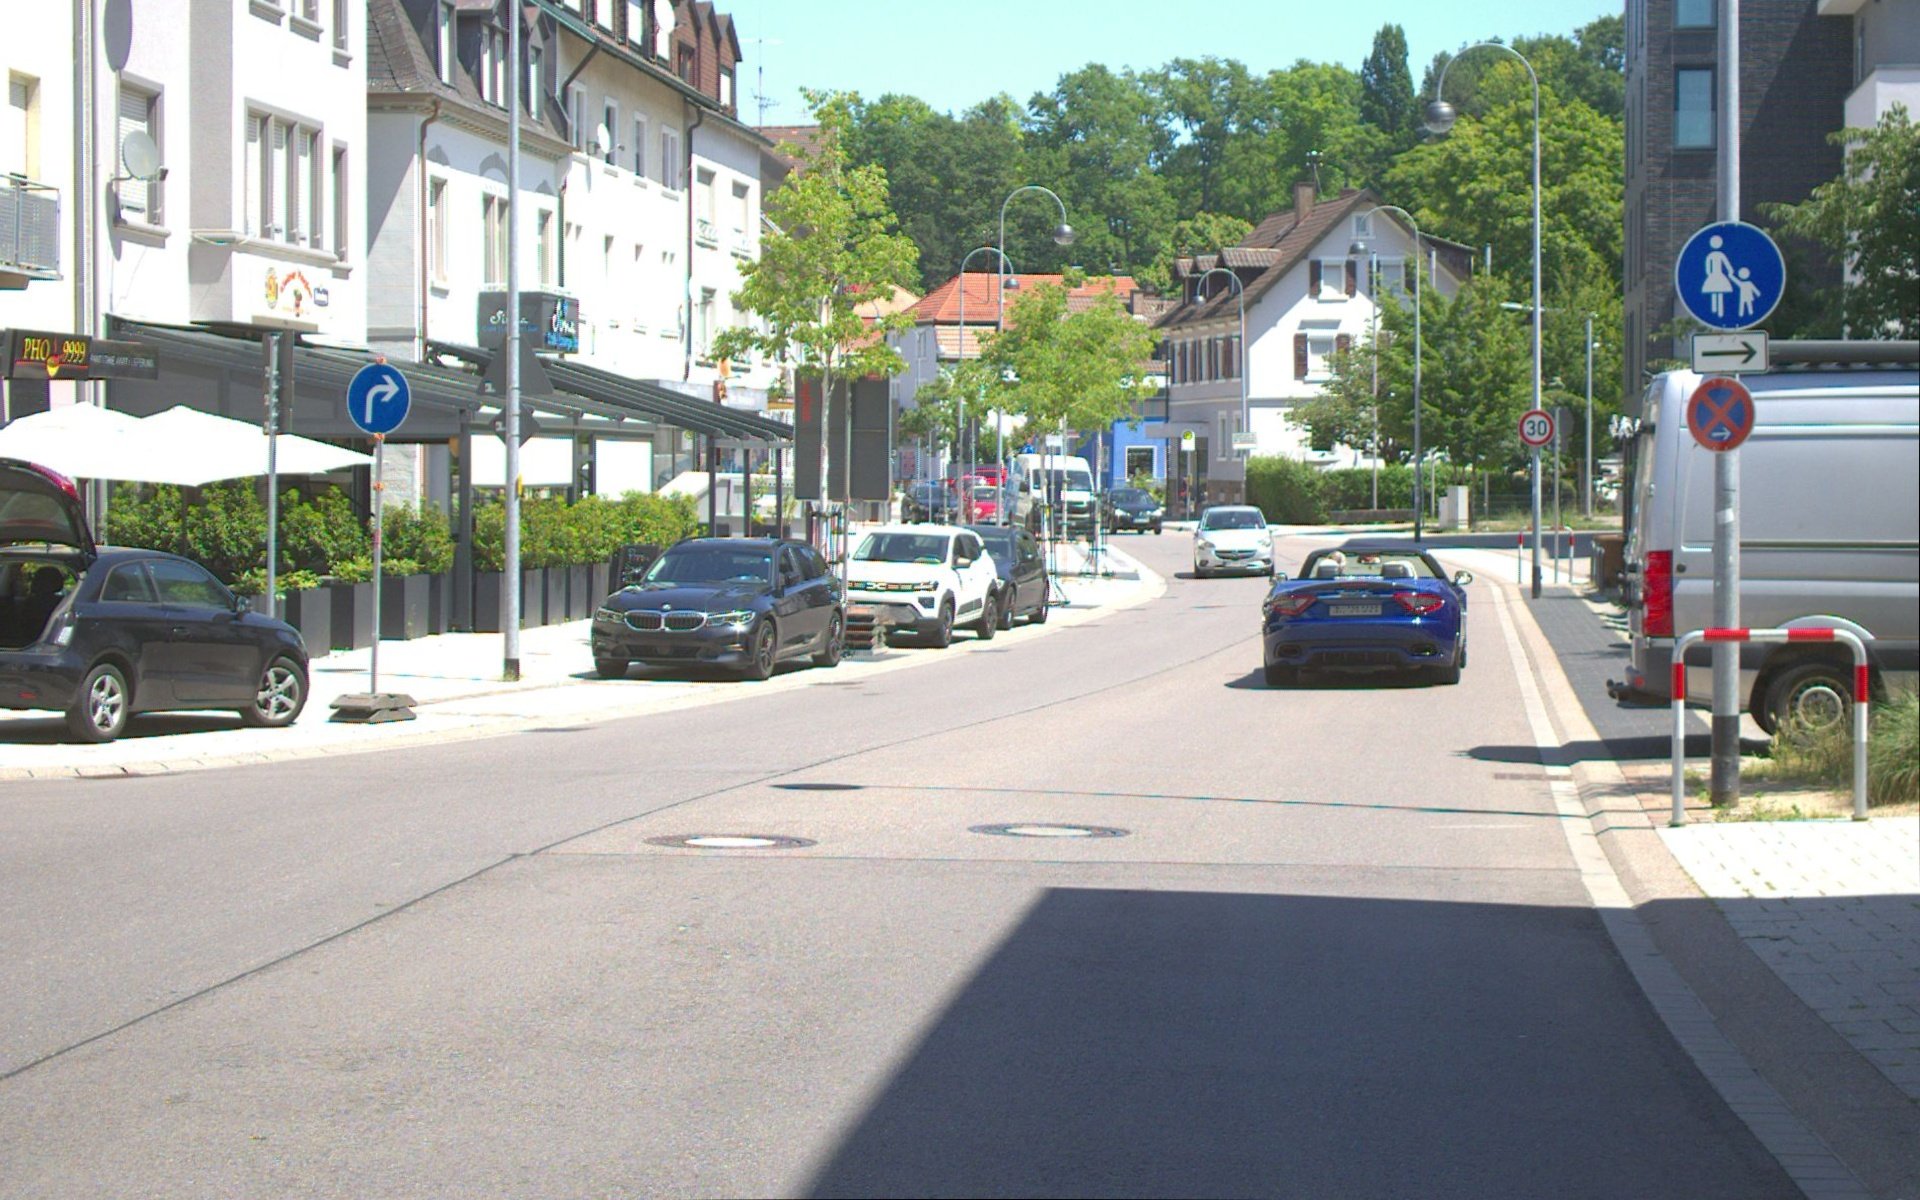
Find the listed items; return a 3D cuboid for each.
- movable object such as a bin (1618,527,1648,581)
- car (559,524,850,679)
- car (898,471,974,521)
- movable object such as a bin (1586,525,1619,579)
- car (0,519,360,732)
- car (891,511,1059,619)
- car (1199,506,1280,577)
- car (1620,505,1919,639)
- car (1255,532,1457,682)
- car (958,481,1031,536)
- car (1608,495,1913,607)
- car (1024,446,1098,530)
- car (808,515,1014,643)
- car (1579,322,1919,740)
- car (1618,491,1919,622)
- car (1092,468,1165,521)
[{"bbox_3d":[11.876,-0.820,60.655,0.495,0.926,0.623,-2,1,10],"label":"movable object such as a bin"},{"bbox_3d":[-2.641,-0.041,36.753,1.835,1.424,4.781,2,2,12],"label":"car"},{"bbox_3d":[-0.877,-3.700,121.925,1.993,1.686,4.002,0,2,-11],"label":"car"},{"bbox_3d":[11.354,-0.847,60.752,0.537,0.926,0.623,-2,1,10],"label":"movable object such as a bin"},{"bbox_3d":[-6.456,0.144,26.663,1.714,1.455,4.126,3,2,19],"label":"car"},{"bbox_3d":[0.259,-0.539,49.760,1.671,1.438,4.008,0,2,12],"label":"car"},{"bbox_3d":[6.031,-1.239,74.036,1.687,1.453,4.057,0,0,5],"label":"car"},{"bbox_3d":[9.388,-0.331,38.062,3.971,1.404,1.856,-1,1,8],"label":"car"},{"bbox_3d":[3.939,0.022,34.598,1.871,1.337,4.595,0,2,5],"label":"car"},{"bbox_3d":[1.078,-2.915,109.689,1.993,1.732,4.001,0,2,-4],"label":"car"},{"bbox_3d":[11.079,-0.698,47.792,3.982,1.524,1.740,0,2,8],"label":"car"},{"bbox_3d":[2.924,-3.278,100.566,1.866,2.392,4.819,0,2,-2],"label":"car"},{"bbox_3d":[-0.582,-0.313,44.380,1.646,1.474,3.938,2,3,14],"label":"car"},{"bbox_3d":[7.260,-0.472,23.371,5.942,2.723,2.195,0,2,9],"label":"car"},{"bbox_3d":[10.378,-0.567,43.363,3.982,1.599,1.942,0,2,8],"label":"car"},{"bbox_3d":[5.306,-3.317,108.656,1.660,1.601,4.001,-2,2,-6],"label":"car"}]
